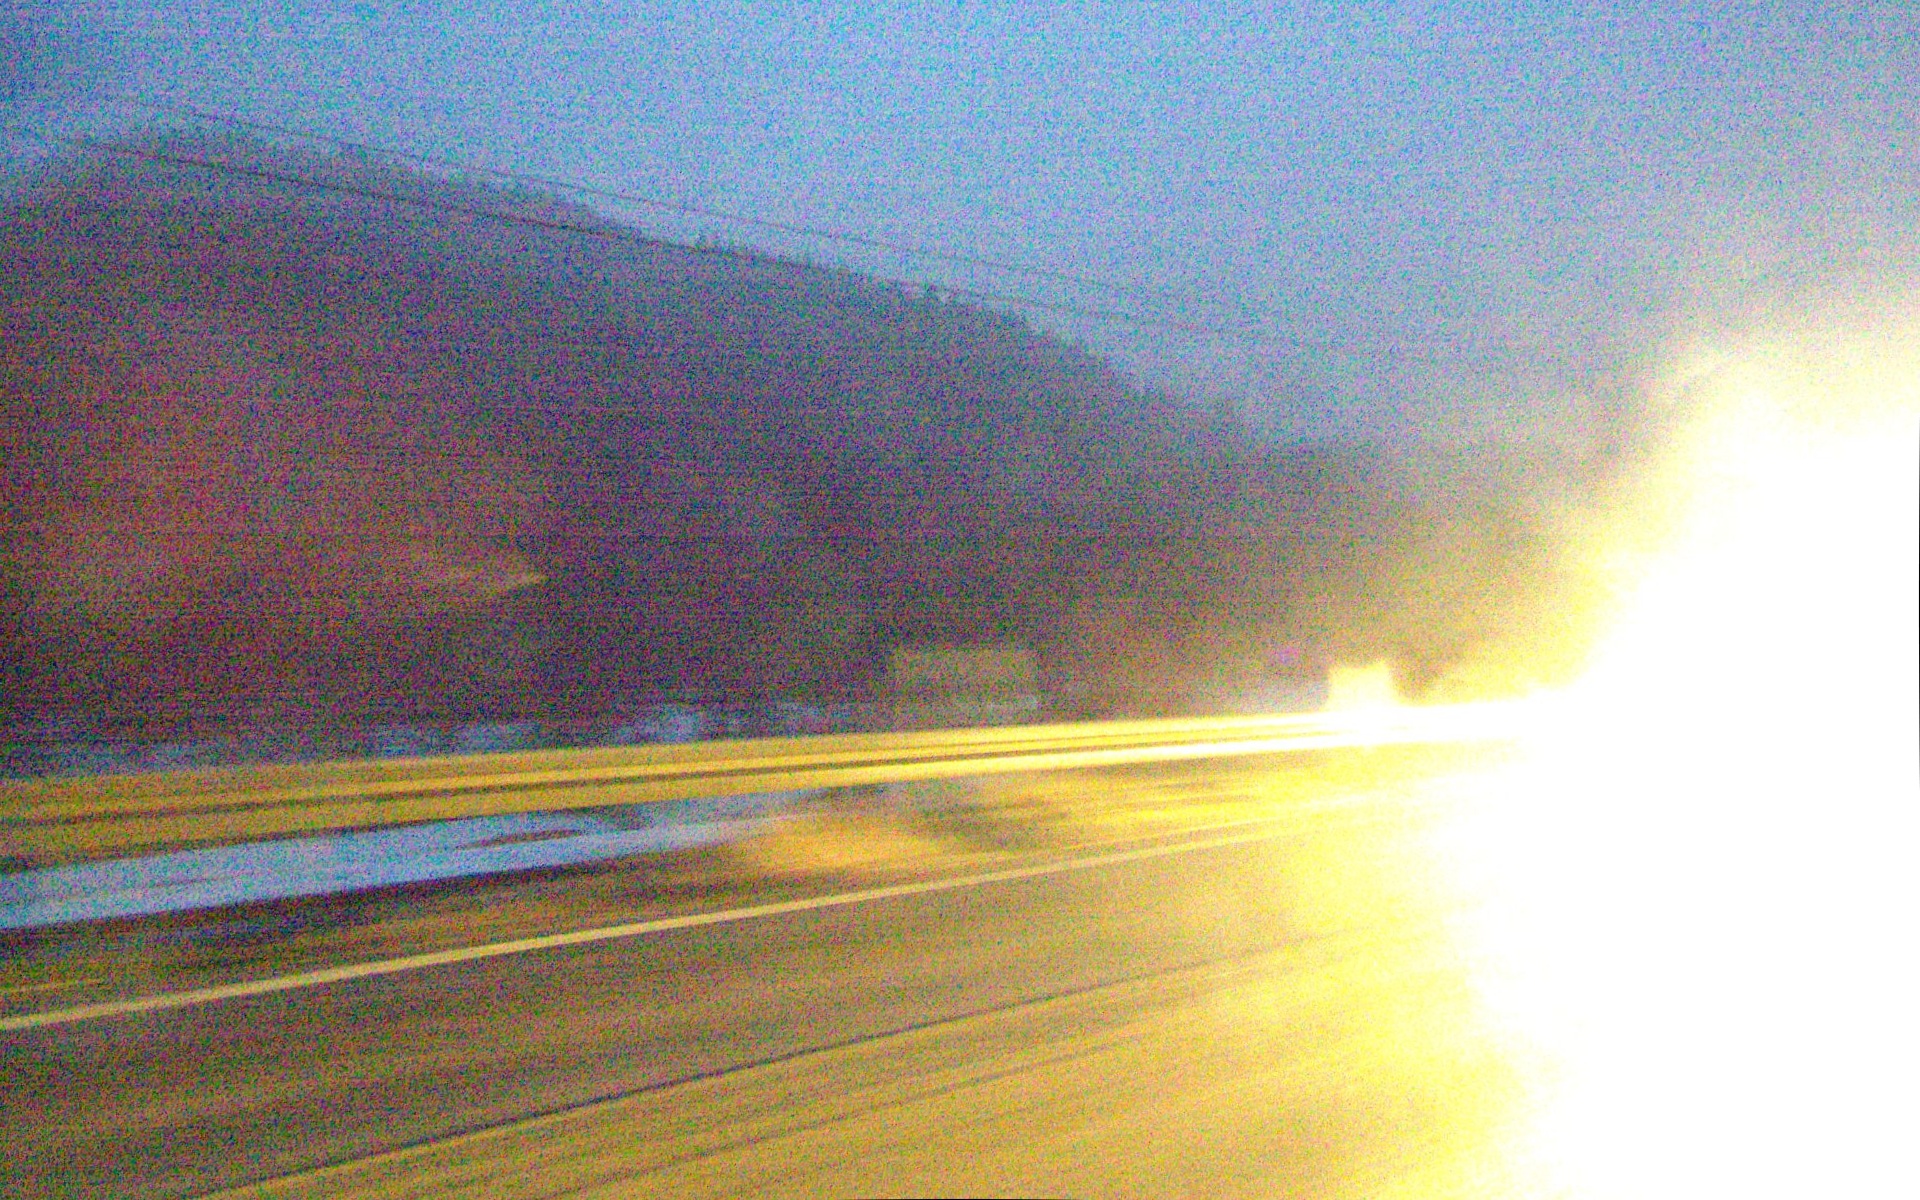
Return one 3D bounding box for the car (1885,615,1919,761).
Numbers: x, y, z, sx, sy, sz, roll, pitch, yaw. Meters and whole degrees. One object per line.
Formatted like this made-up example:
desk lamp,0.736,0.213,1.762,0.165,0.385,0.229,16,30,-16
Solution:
car,11.944,0.962,10.619,4.378,1.467,1.984,2,0,-31
